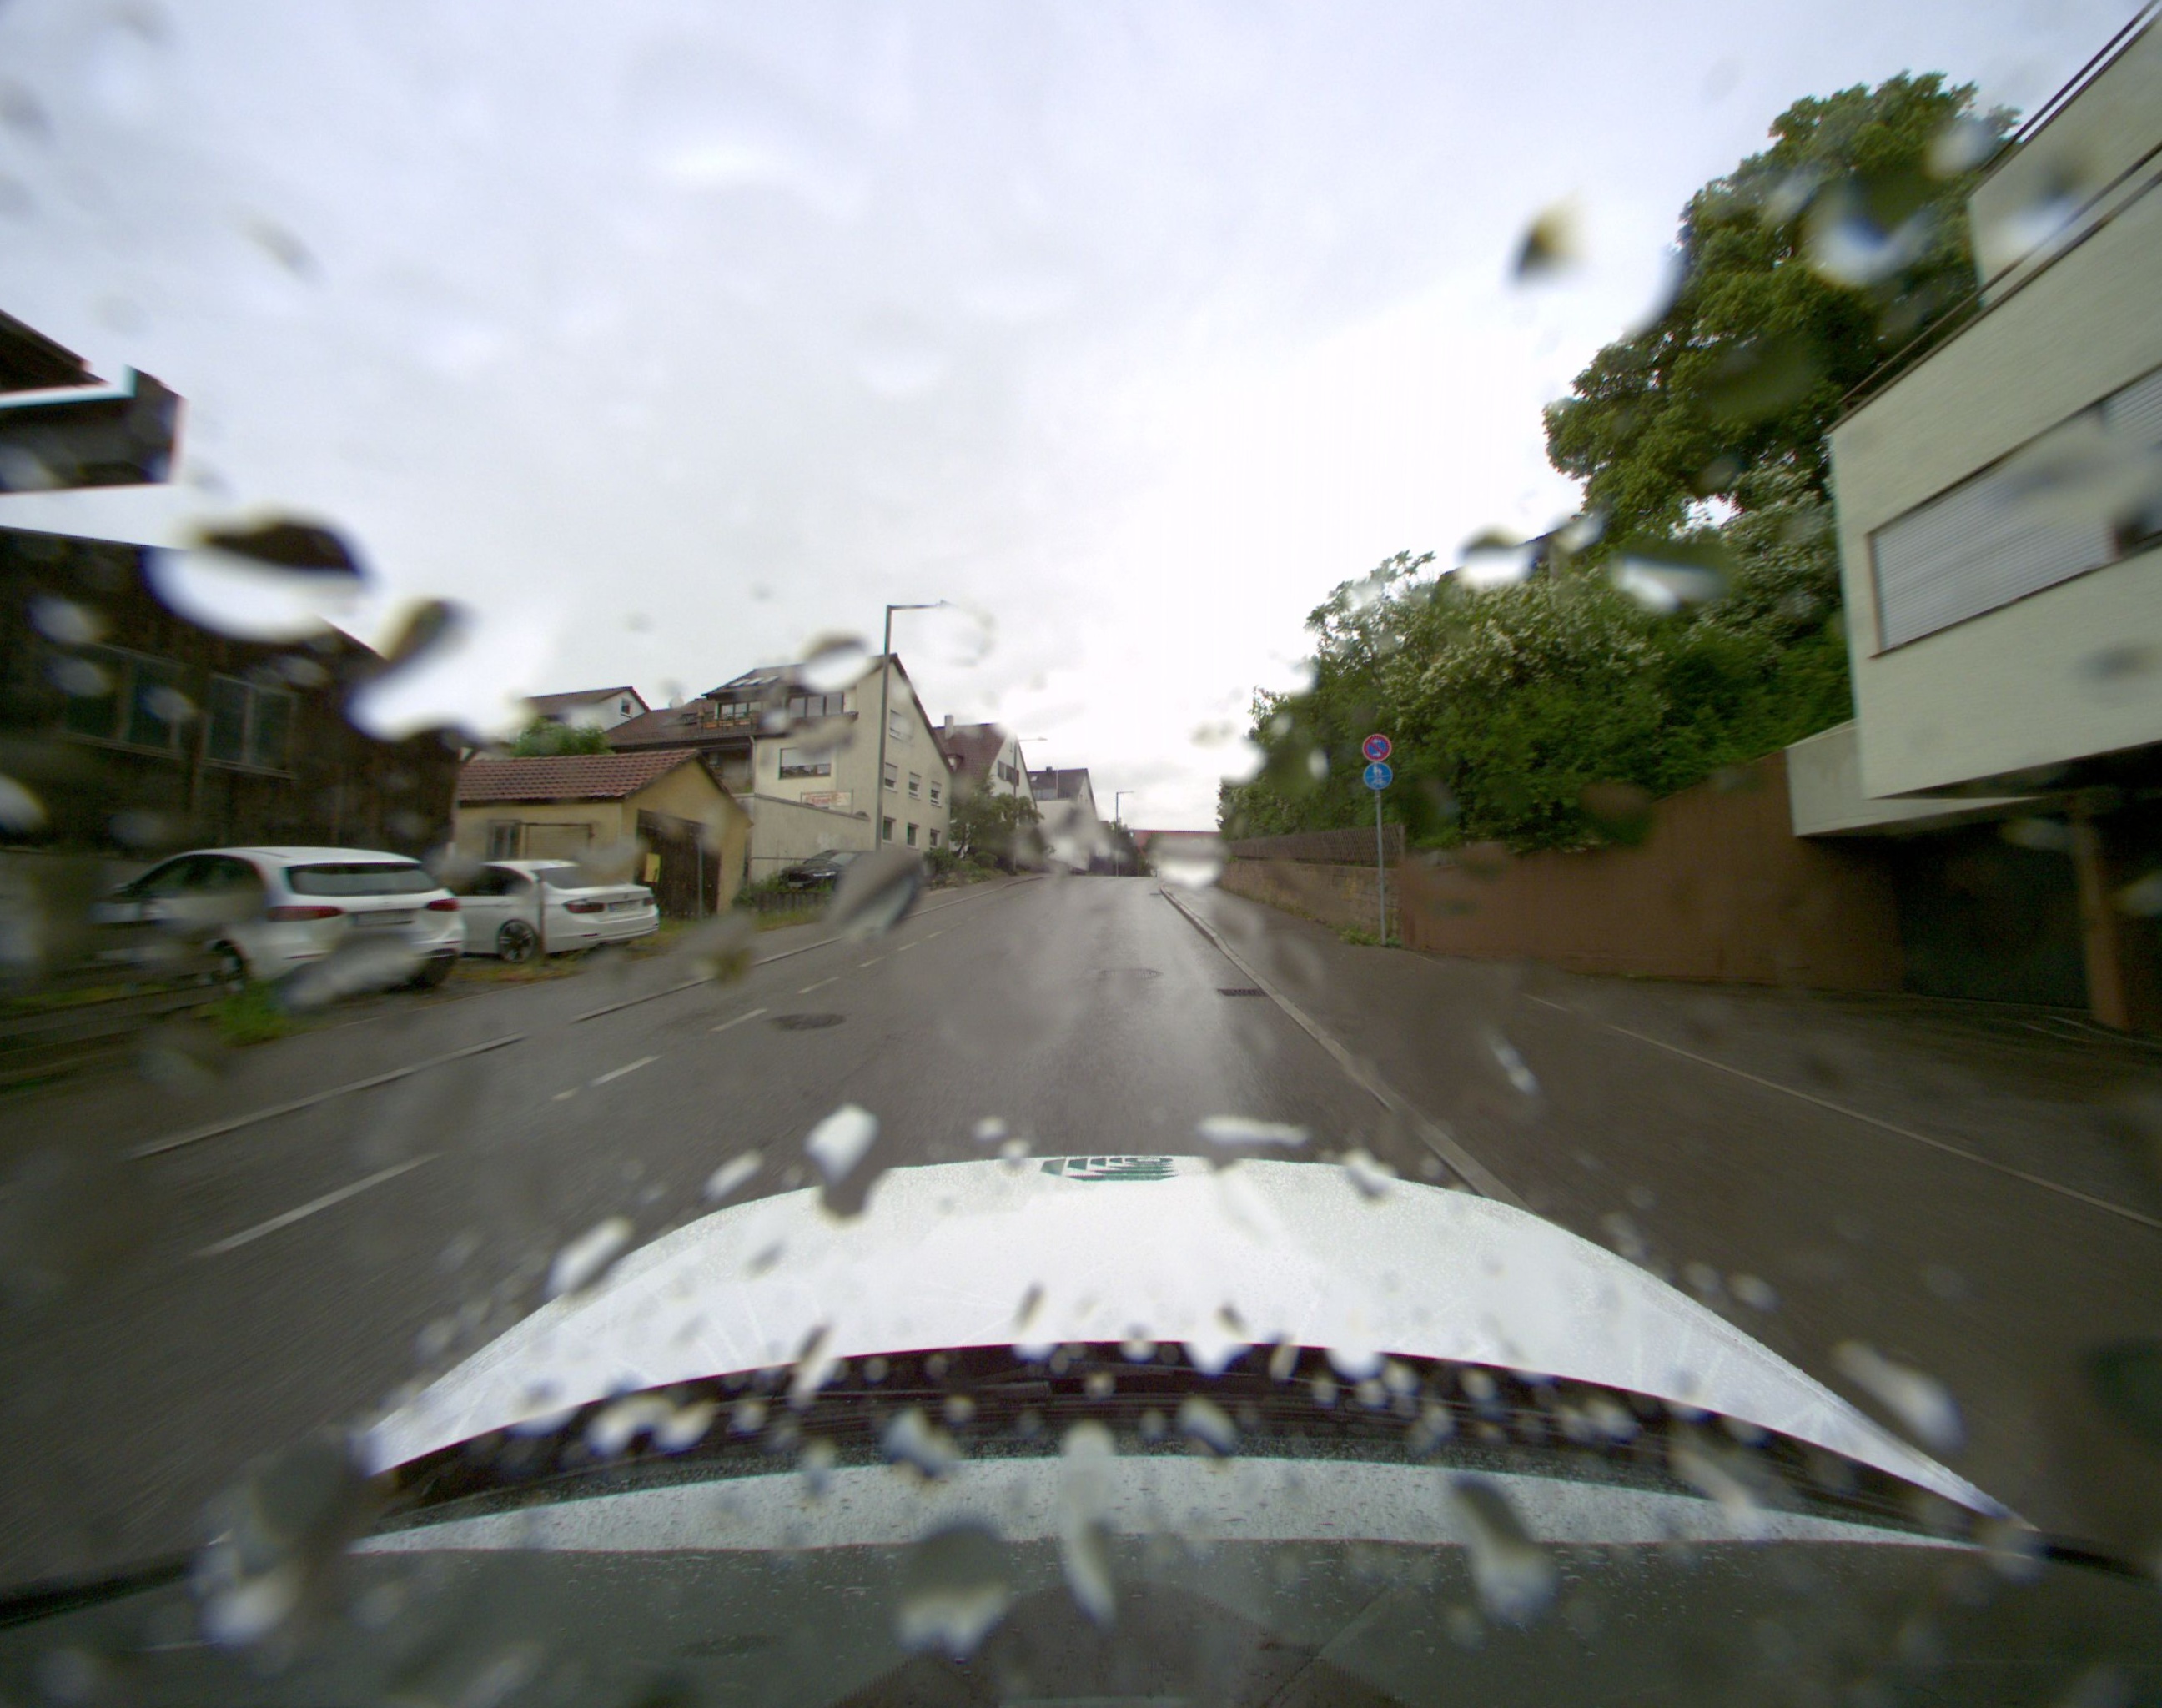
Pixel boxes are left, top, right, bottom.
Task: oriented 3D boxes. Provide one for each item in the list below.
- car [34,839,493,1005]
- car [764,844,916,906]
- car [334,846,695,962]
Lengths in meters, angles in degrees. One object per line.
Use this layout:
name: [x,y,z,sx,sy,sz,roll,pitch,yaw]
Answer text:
car: [-8.831,0.641,8.881,3.955,1.505,1.909,-1,0,18]
car: [-6.985,0.567,24.303,1.959,1.659,4.983,-1,0,16]
car: [-8.319,0.682,12.075,4.464,1.505,1.908,-1,0,14]
